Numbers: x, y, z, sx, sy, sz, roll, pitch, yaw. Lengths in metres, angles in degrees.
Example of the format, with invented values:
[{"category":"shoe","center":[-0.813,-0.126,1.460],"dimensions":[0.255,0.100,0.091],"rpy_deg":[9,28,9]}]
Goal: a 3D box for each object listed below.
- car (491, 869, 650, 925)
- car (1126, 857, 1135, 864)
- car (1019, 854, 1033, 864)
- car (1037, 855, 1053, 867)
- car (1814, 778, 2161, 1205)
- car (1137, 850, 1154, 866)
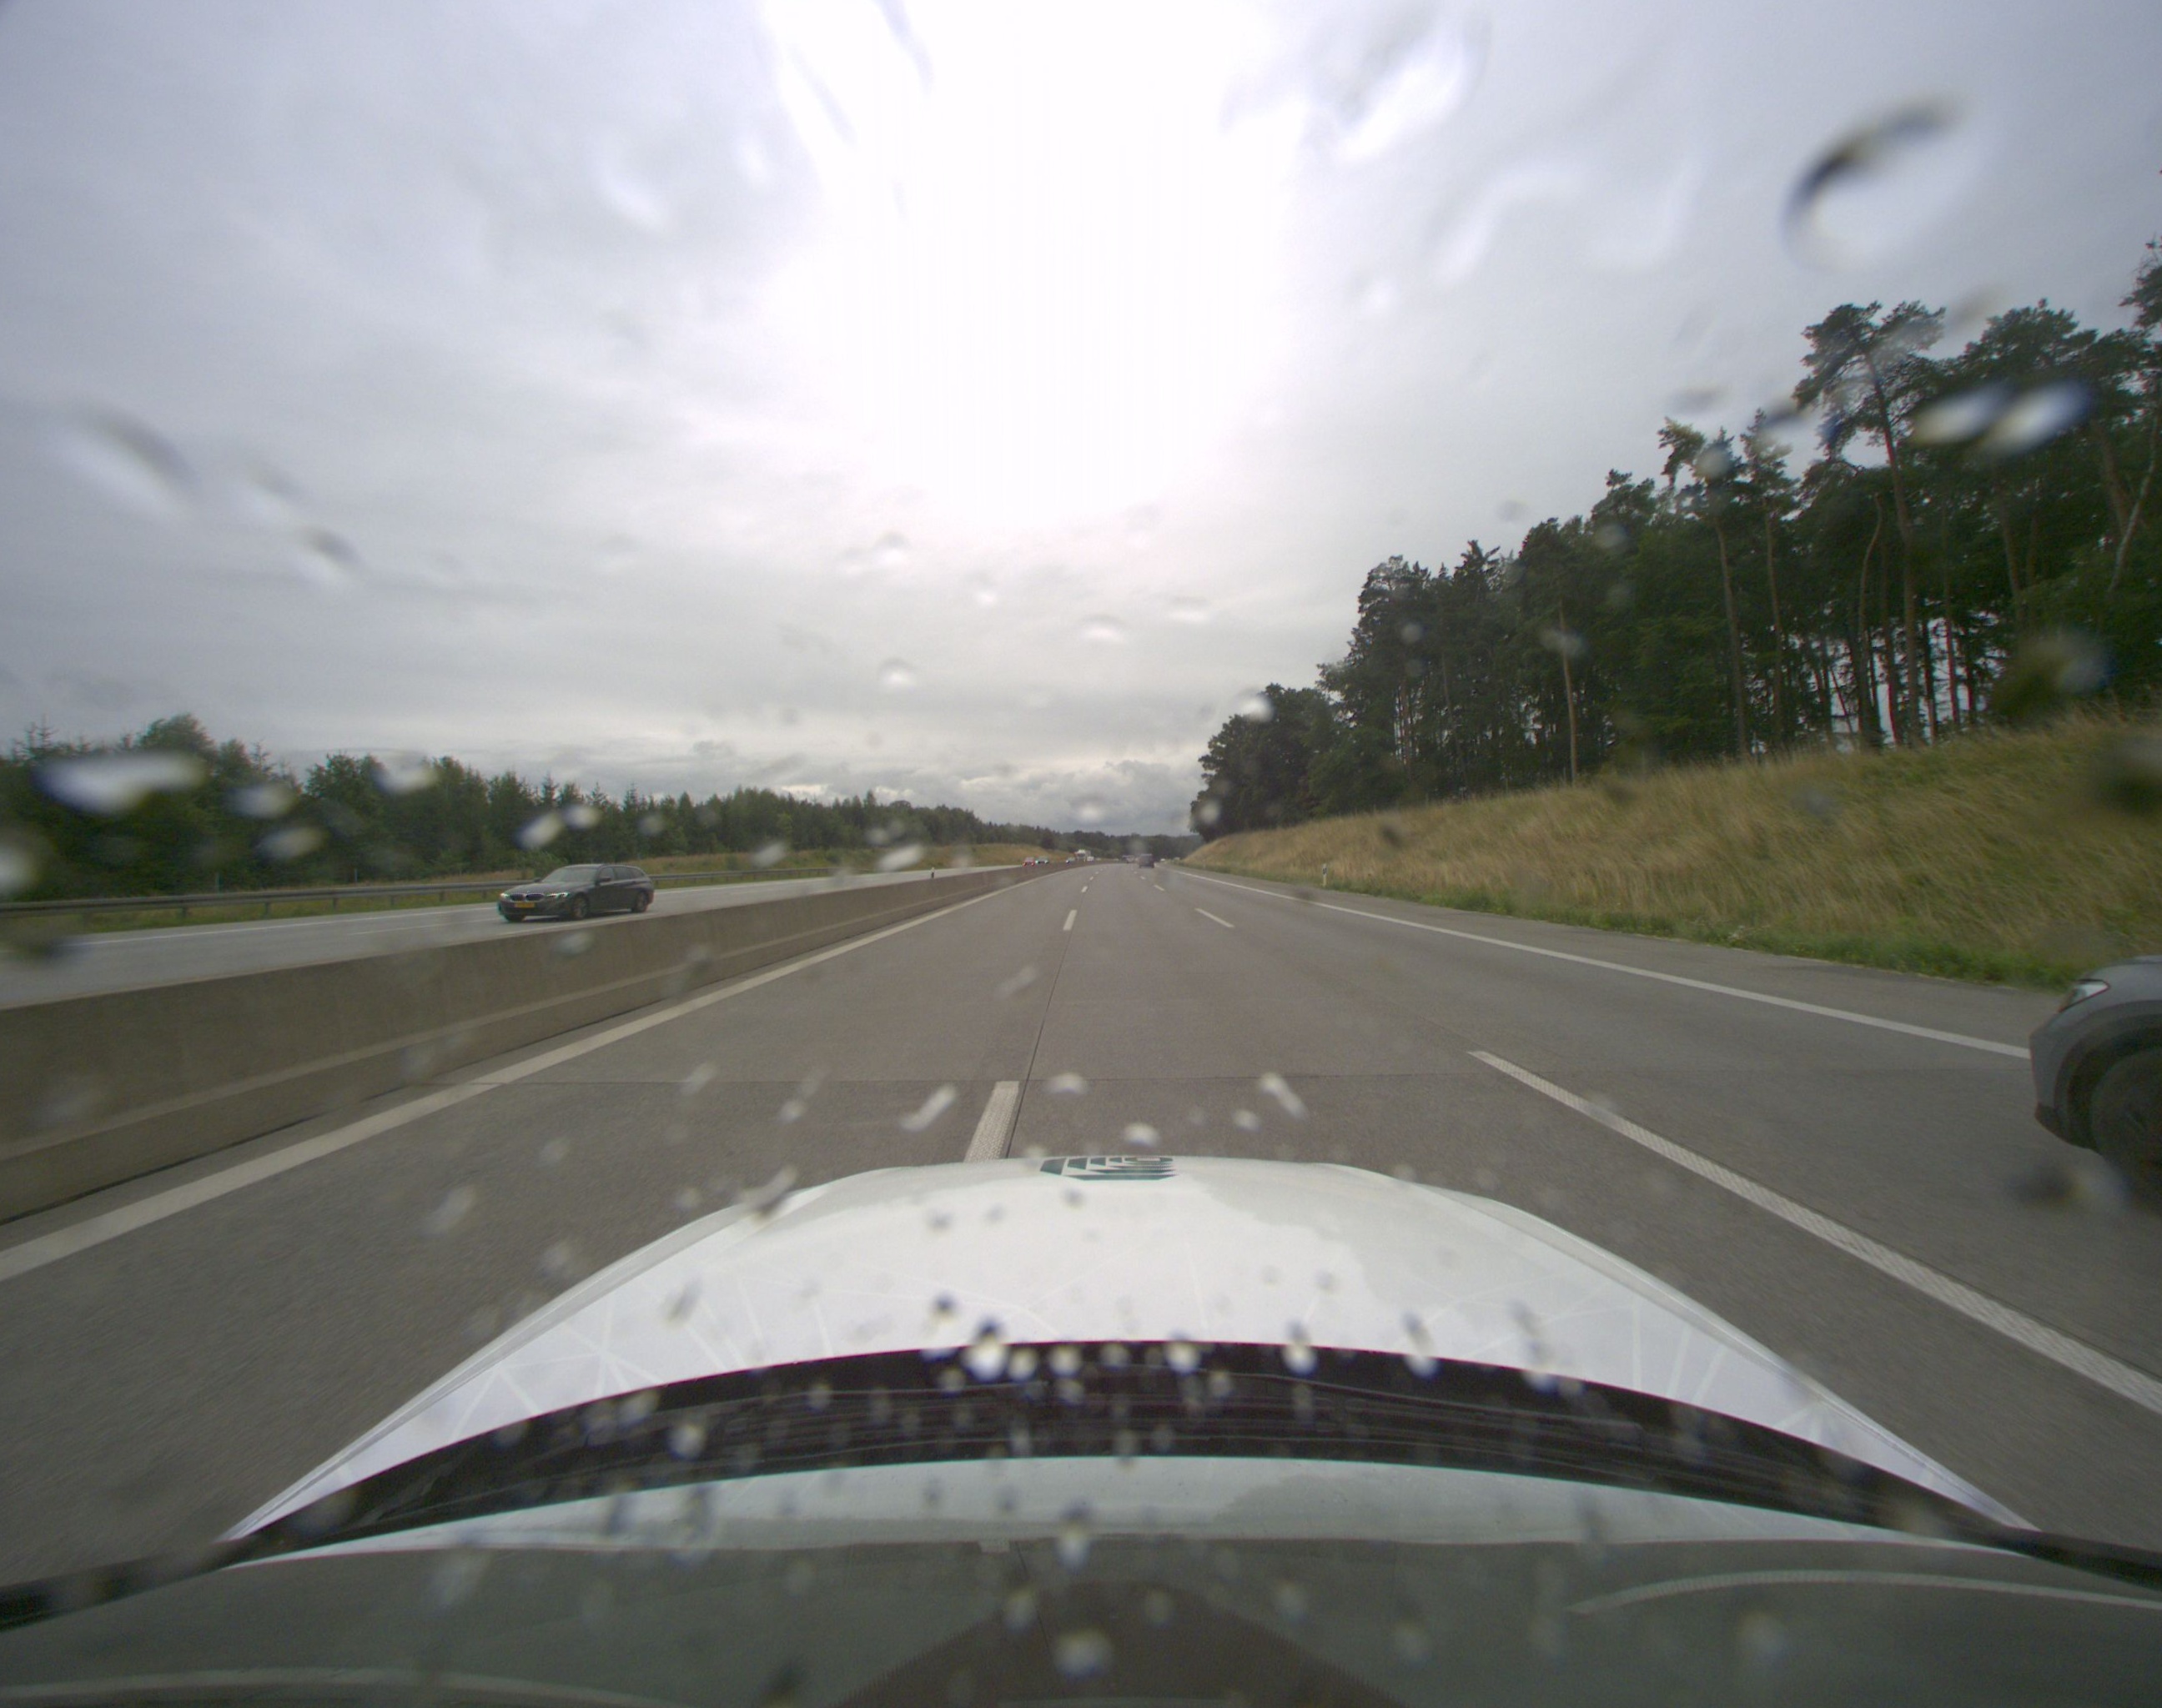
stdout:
[{"category":"car","center":[-13.530,1.087,21.901],"dimensions":[1.762,1.232,3.955],"rpy_deg":[0,1,0]},{"category":"car","center":[11.859,1.538,193.745],"dimensions":[1.835,1.500,4.000],"rpy_deg":[-4,1,0]},{"category":"car","center":[-9.422,0.847,139.519],"dimensions":[1.942,1.617,4.003],"rpy_deg":[-4,1,2]},{"category":"car","center":[-5.366,1.012,121.831],"dimensions":[1.942,1.617,4.003],"rpy_deg":[-4,1,2]},{"category":"car","center":[5.209,0.551,2.138],"dimensions":[1.891,1.689,5.267],"rpy_deg":[-1,1,1]},{"category":"car","center":[7.907,0.489,100.029],"dimensions":[1.779,1.746,3.916],"rpy_deg":[-4,1,1]}]
